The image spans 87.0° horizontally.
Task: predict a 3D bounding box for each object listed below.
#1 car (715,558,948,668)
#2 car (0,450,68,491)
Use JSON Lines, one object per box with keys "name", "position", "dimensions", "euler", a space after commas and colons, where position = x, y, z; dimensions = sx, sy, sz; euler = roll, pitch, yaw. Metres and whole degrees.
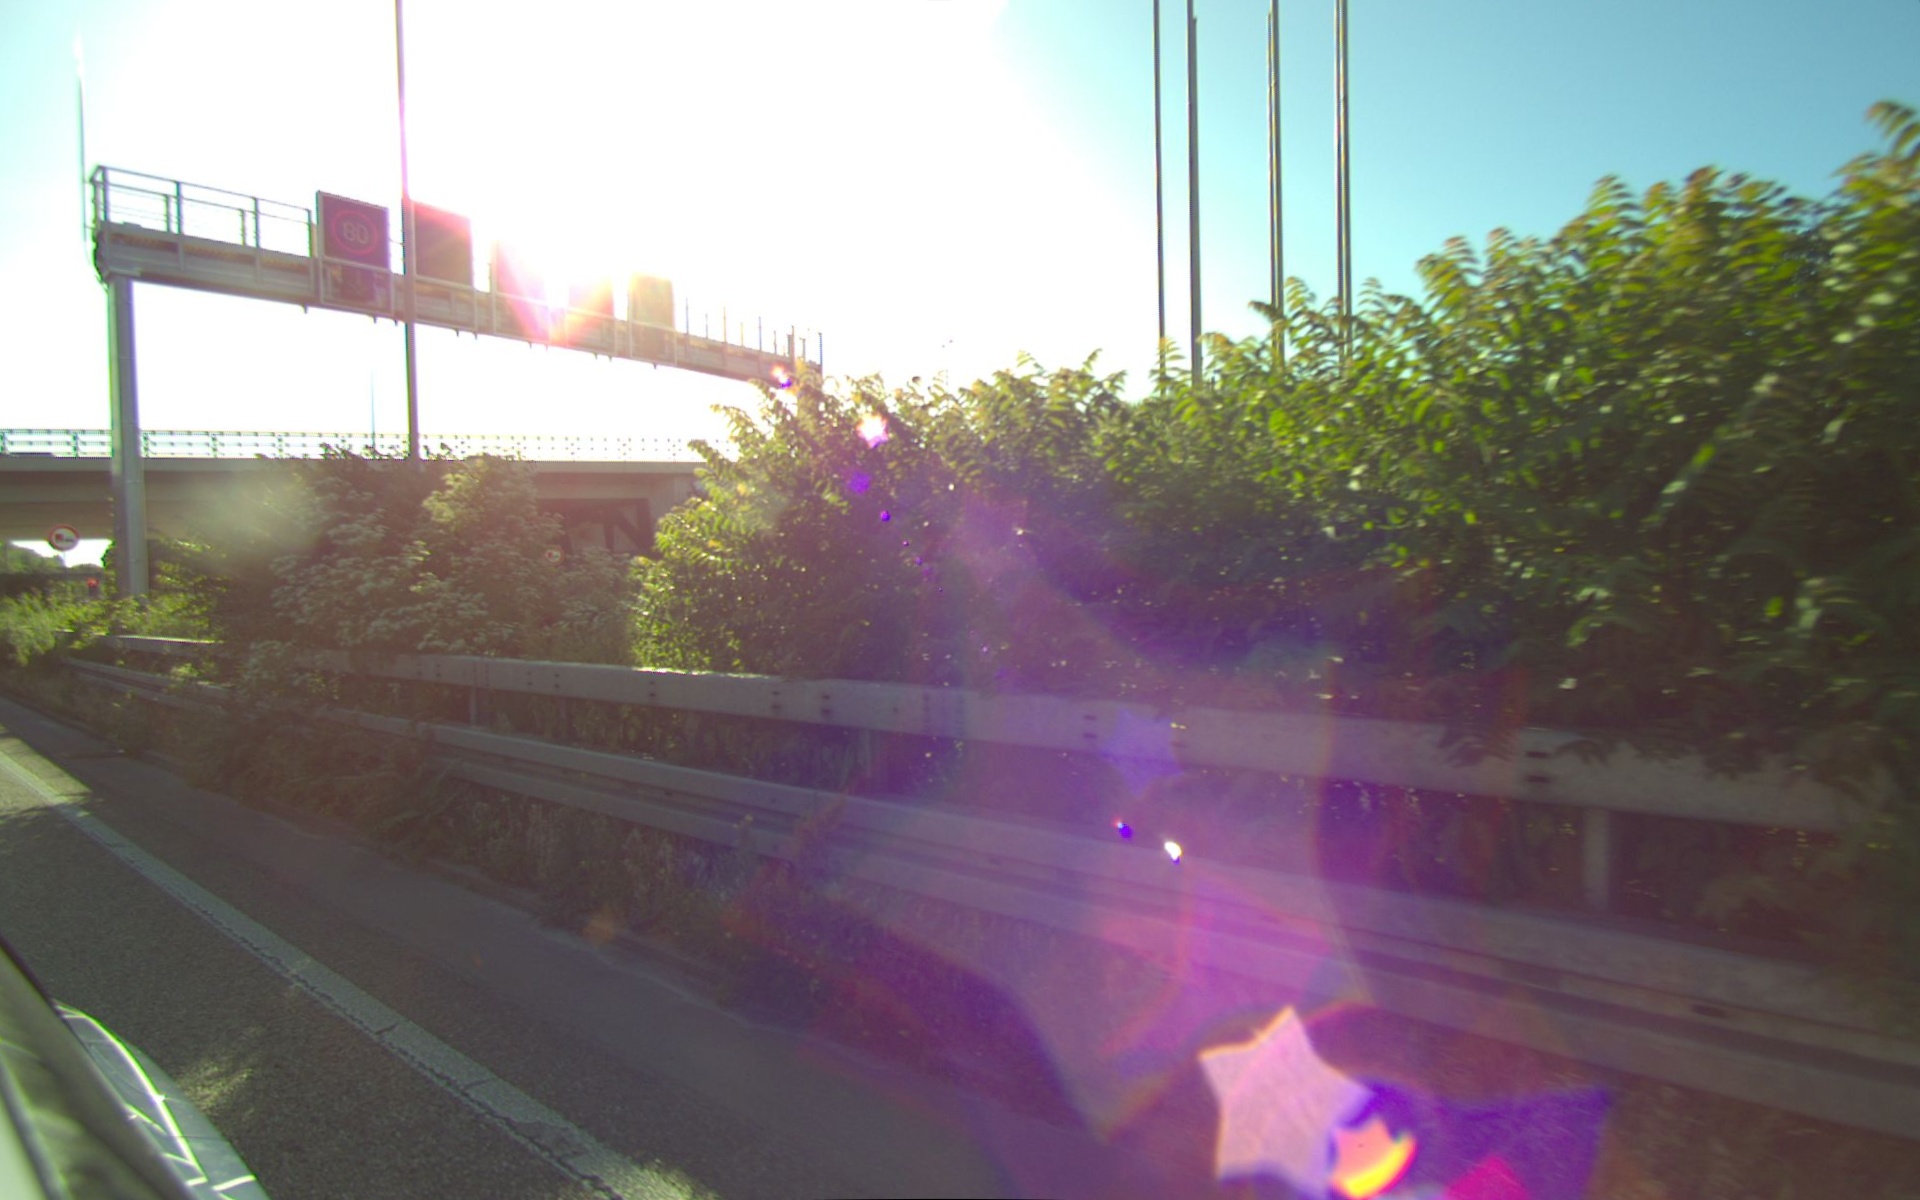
{"name": "car", "position": [-2.271, 0.177, 17.347], "dimensions": [3.933, 1.674, 1.803], "euler": [0, 1, 41]}
{"name": "car", "position": [-49.915, -6.735, 52.750], "dimensions": [4.643, 1.897, 2.219], "euler": [-2, 1, -21]}
